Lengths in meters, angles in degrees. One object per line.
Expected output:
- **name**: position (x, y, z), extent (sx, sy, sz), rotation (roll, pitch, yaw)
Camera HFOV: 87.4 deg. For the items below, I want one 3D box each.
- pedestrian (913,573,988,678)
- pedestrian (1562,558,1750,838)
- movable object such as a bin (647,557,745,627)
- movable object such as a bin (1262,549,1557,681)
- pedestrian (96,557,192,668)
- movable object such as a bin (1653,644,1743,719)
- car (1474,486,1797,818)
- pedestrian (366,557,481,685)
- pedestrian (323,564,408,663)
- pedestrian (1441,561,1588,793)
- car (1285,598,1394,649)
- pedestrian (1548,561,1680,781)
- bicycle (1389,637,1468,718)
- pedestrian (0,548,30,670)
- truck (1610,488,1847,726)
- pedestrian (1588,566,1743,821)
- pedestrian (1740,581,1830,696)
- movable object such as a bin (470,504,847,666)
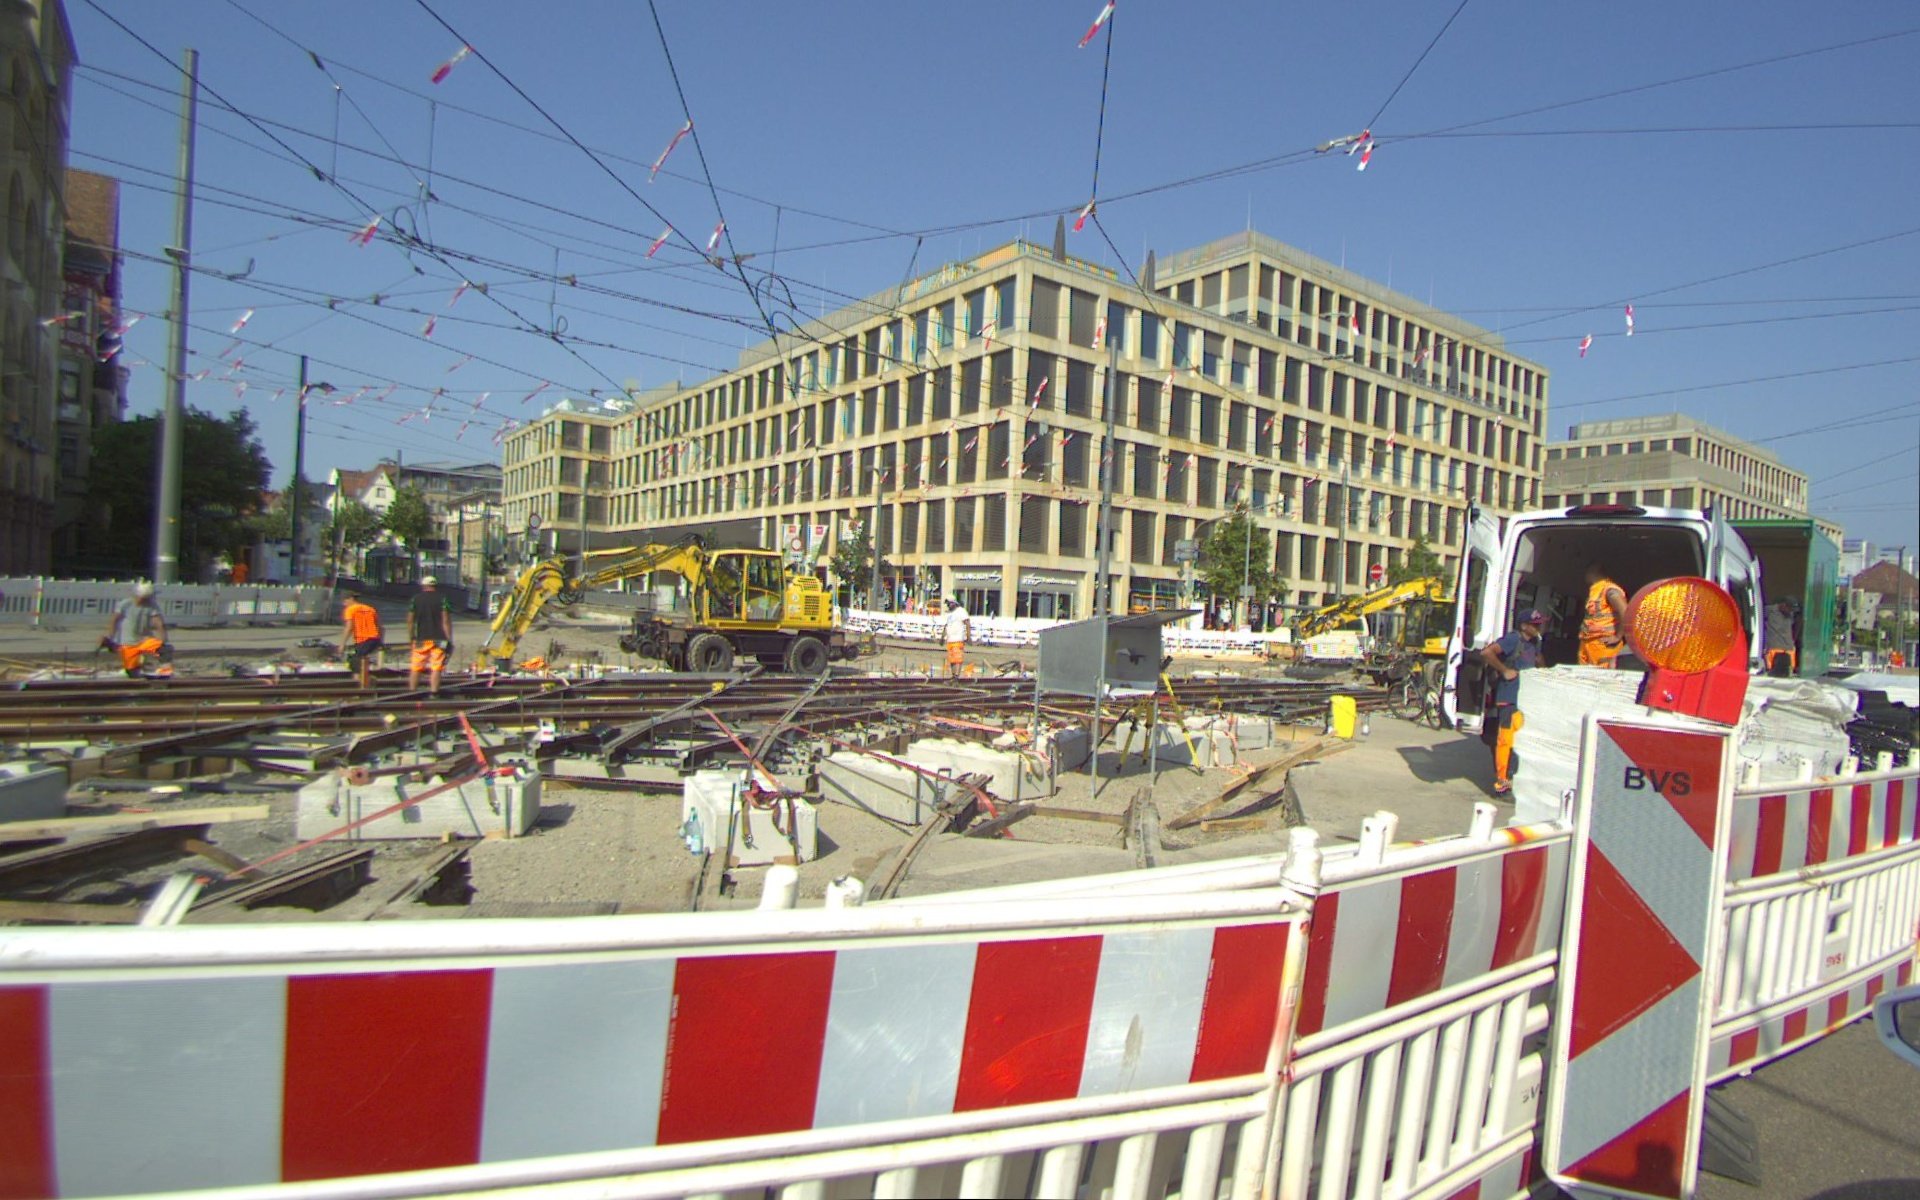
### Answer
- **pedestrian**: position (-0.175, 0.477, 19.182), extent (1.000, 1.890, 1.145), rotation (2, 0, 22)
- **pedestrian**: position (5.343, 0.728, 7.759), extent (0.890, 2.040, 0.736), rotation (2, 0, -3)
- **movable object such as a bin**: position (-11.467, -0.373, 43.295), extent (2.115, 2.776, 5.572), rotation (2, 0, -36)
- **movable object such as a bin**: position (15.370, 0.551, 34.586), extent (8.885, 4.066, 3.506), rotation (2, 0, -13)
- **pedestrian**: position (-11.239, 0.170, 13.880), extent (0.908, 1.461, 1.134), rotation (2, 0, -35)
- **movable object such as a bin**: position (11.630, 1.265, 15.818), extent (1.465, 1.106, 0.639), rotation (2, 0, -33)
- **car**: position (7.596, 0.482, 11.010), extent (2.200, 2.765, 5.143), rotation (2, 0, 42)
- **pedestrian**: position (-7.186, 0.272, 13.526), extent (1.002, 1.610, 1.144), rotation (2, 0, -10)
- **pedestrian**: position (-9.247, 0.208, 15.601), extent (1.010, 1.461, 1.134), rotation (2, 0, -35)
- **pedestrian**: position (5.097, 0.690, 9.276), extent (0.890, 2.040, 0.736), rotation (2, 0, -5)
- **car**: position (17.060, 1.069, 45.080), extent (5.062, 2.057, 1.801), rotation (3, 0, -32)
- **pedestrian**: position (6.418, 0.670, 9.862), extent (0.897, 2.040, 0.730), rotation (2, 0, -31)
- **bicycle**: position (7.444, 1.201, 16.027), extent (0.605, 1.151, 1.663), rotation (2, 0, 6)
- **pedestrian**: position (-12.150, 0.088, 12.308), extent (0.908, 1.461, 1.134), rotation (2, 0, -35)
- **truck**: position (15.218, 0.182, 19.584), extent (2.646, 3.727, 8.163), rotation (2, 0, 44)
- **pedestrian**: position (6.009, 0.761, 8.566), extent (0.896, 2.040, 0.730), rotation (2, 0, -30)
- **pedestrian**: position (12.751, 0.586, 15.549), extent (0.751, 1.716, 0.707), rotation (2, 0, 0)
- **movable object such as a bin**: position (-7.111, -0.180, 24.426), extent (8.264, 3.374, 2.827), rotation (2, -1, -35)
